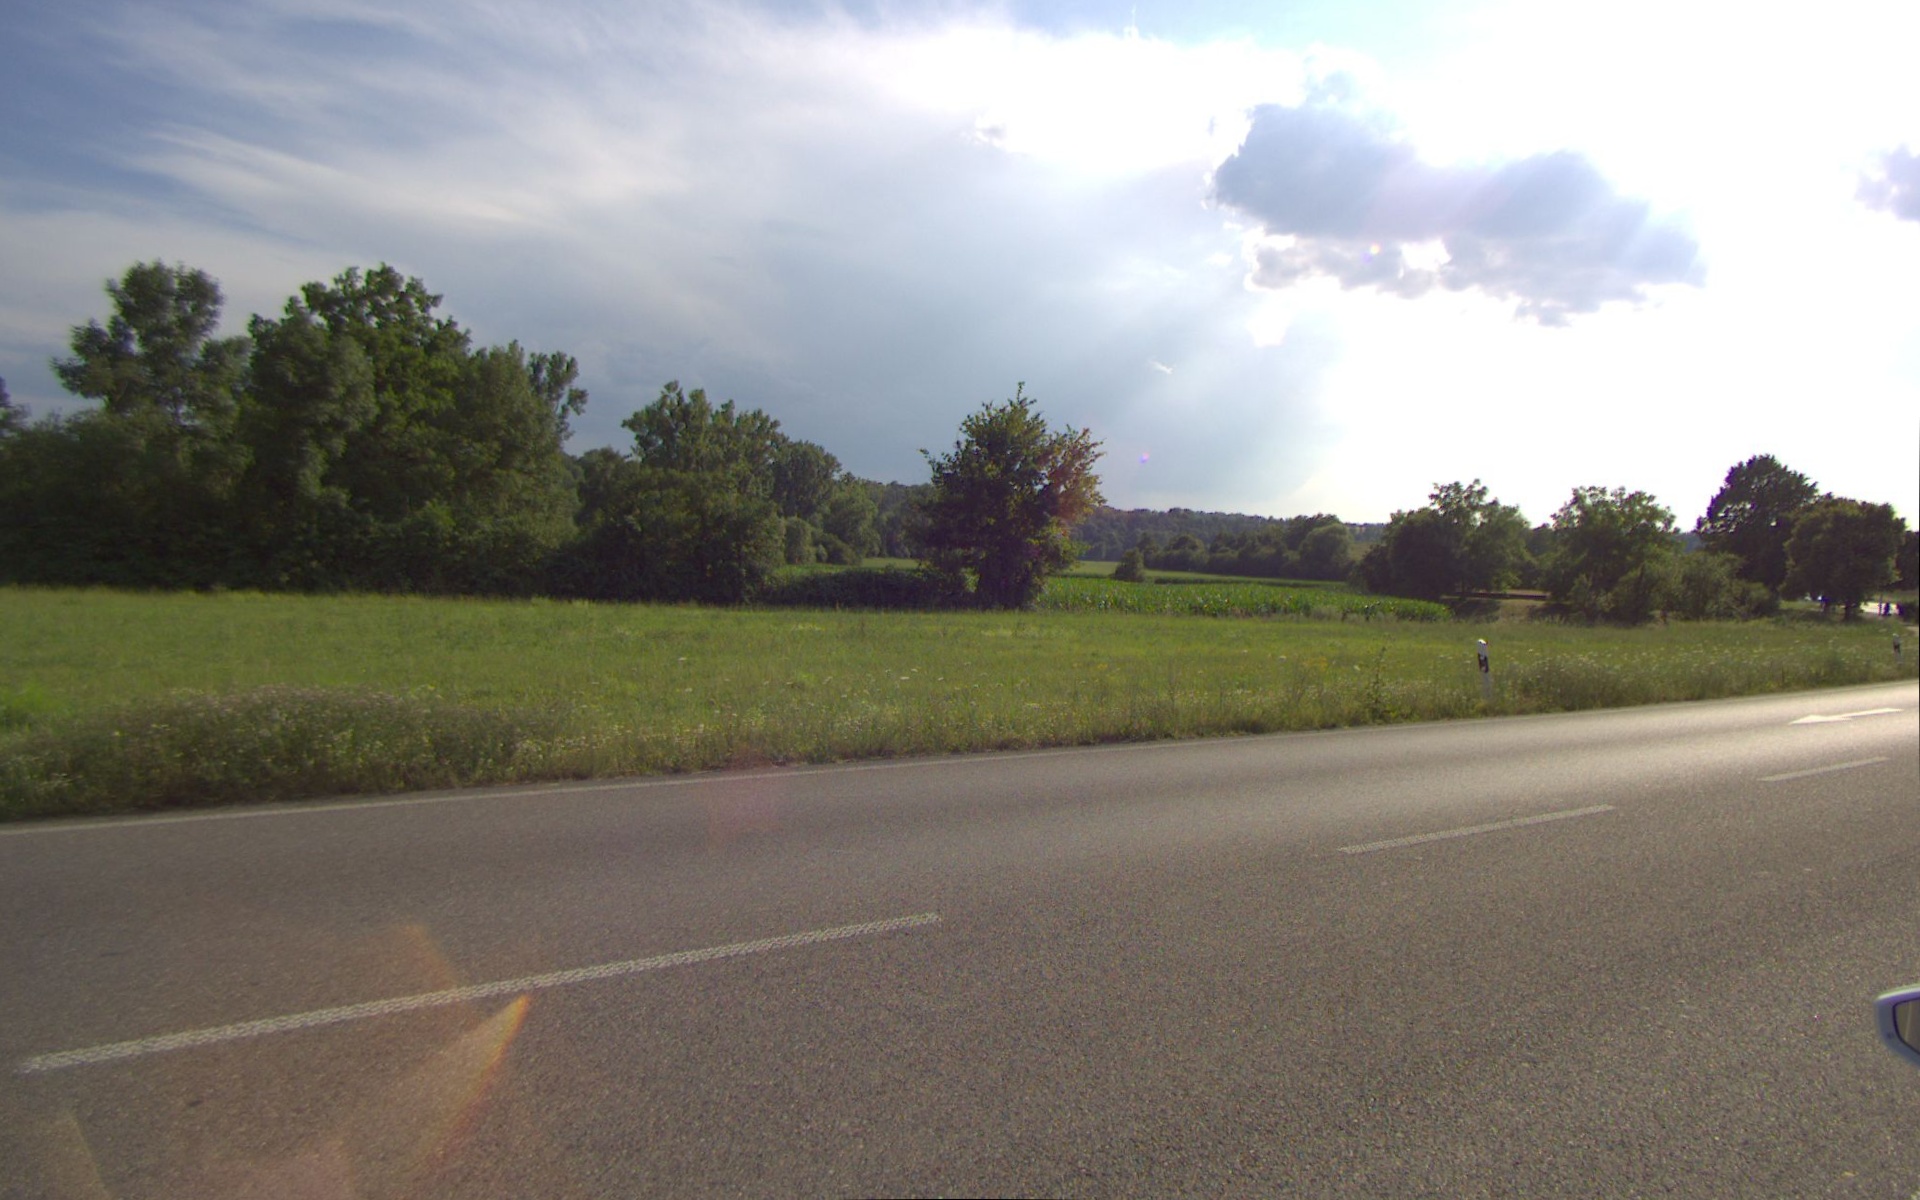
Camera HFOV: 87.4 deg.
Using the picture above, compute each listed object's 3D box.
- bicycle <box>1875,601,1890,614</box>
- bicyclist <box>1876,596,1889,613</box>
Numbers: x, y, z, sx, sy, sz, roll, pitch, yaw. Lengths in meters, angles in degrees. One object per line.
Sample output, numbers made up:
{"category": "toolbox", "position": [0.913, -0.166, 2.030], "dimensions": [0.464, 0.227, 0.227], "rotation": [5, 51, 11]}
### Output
{"category": "bicycle", "position": [78.797, 0.663, 85.784], "dimensions": [1.656, 1.089, 0.630], "rotation": [1, 2, -39]}
{"category": "bicyclist", "position": [78.755, 0.376, 85.730], "dimensions": [0.685, 1.439, 0.630], "rotation": [1, 2, -38]}
